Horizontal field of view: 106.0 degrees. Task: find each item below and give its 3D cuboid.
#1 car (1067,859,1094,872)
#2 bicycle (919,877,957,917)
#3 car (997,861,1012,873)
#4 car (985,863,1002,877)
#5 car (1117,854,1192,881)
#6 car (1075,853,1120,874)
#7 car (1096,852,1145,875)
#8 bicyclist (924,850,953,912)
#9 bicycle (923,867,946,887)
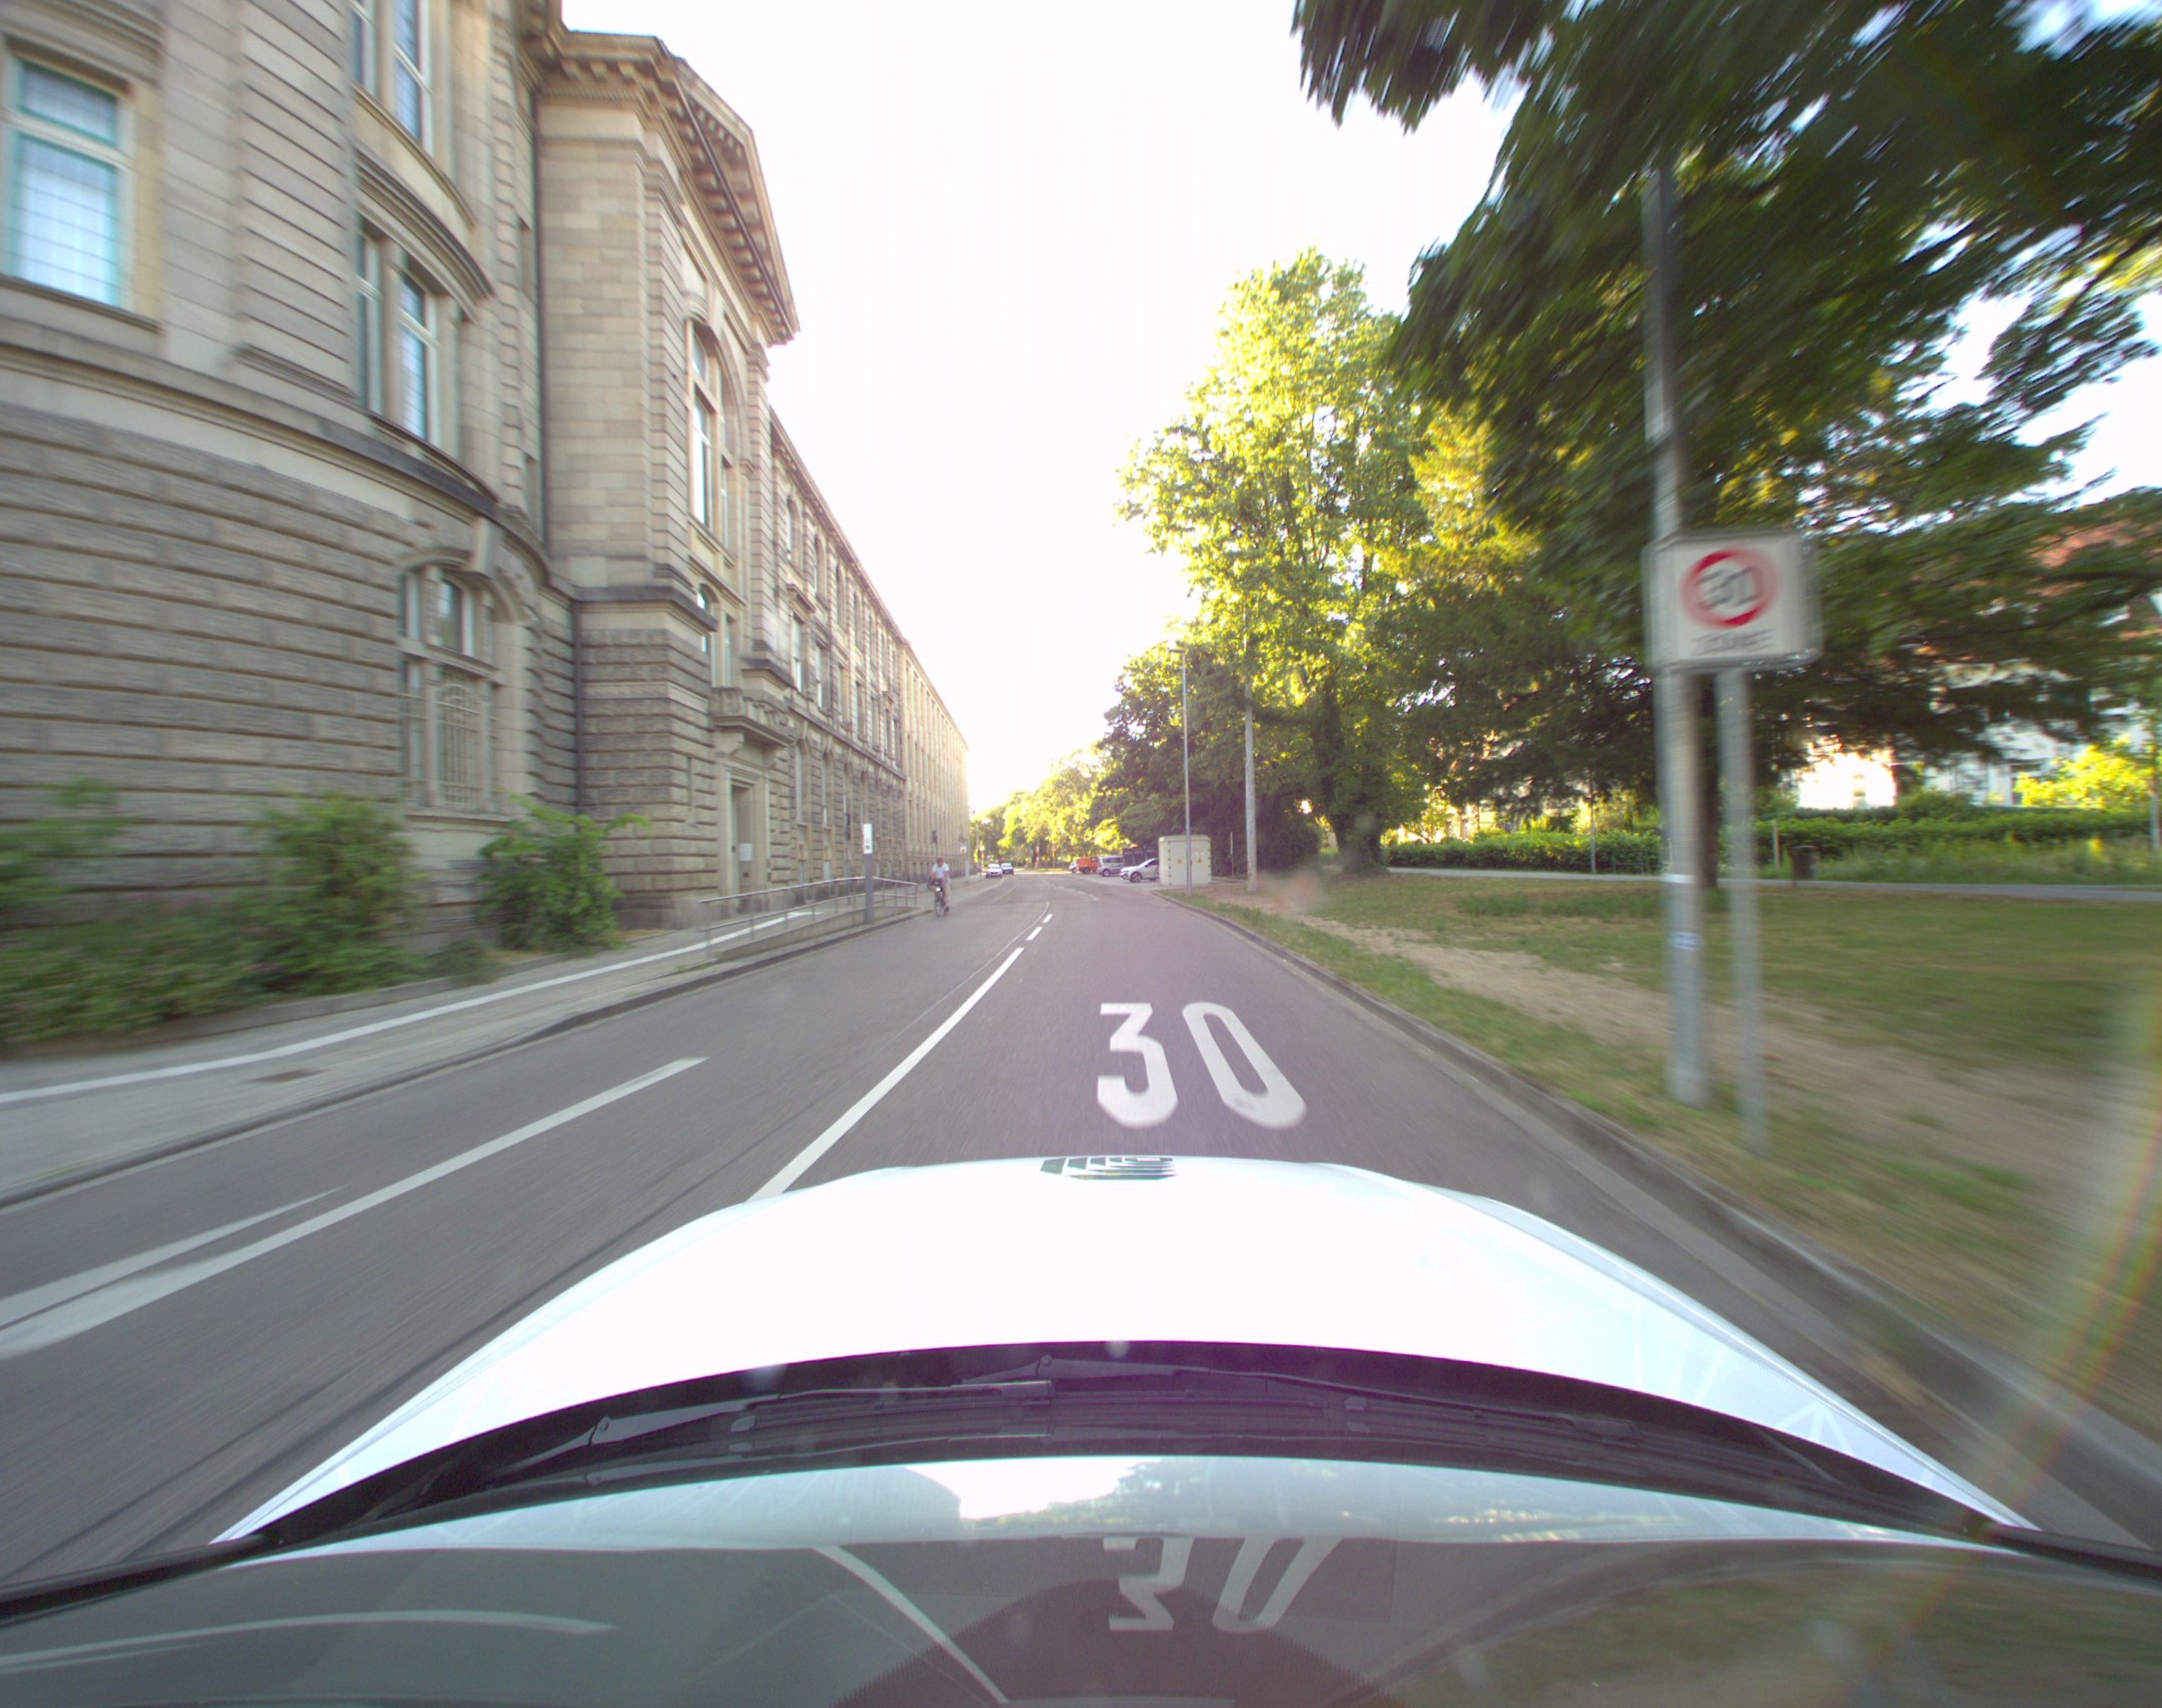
[{"bbox_3d":[-0.053,1.469,103.074,3.145,1.503,1.535,-4,0,-11],"label":"car"},{"bbox_3d":[-4.271,1.261,24.505,0.660,1.070,2.154,-2,0,2],"label":"bicycle"},{"bbox_3d":[-9.994,1.709,105.910,1.877,1.466,4.363,-2,0,-7],"label":"car"},{"bbox_3d":[-9.498,1.702,88.575,1.725,1.397,4.363,-1,-1,-7],"label":"car"},{"bbox_3d":[4.601,0.857,51.474,4.434,1.469,1.779,-3,-1,-5],"label":"car"},{"bbox_3d":[1.834,1.059,92.829,4.820,2.013,1.795,-4,0,-11],"label":"car"},{"bbox_3d":[3.536,0.850,73.578,4.219,1.860,1.998,-3,-1,-3],"label":"car"},{"bbox_3d":[-4.275,0.794,24.481,0.643,1.807,0.780,-2,-1,1],"label":"bicyclist"},{"bbox_3d":[-8.127,1.276,45.256,0.849,1.101,1.982,0,-1,0],"label":"bicycle"}]
